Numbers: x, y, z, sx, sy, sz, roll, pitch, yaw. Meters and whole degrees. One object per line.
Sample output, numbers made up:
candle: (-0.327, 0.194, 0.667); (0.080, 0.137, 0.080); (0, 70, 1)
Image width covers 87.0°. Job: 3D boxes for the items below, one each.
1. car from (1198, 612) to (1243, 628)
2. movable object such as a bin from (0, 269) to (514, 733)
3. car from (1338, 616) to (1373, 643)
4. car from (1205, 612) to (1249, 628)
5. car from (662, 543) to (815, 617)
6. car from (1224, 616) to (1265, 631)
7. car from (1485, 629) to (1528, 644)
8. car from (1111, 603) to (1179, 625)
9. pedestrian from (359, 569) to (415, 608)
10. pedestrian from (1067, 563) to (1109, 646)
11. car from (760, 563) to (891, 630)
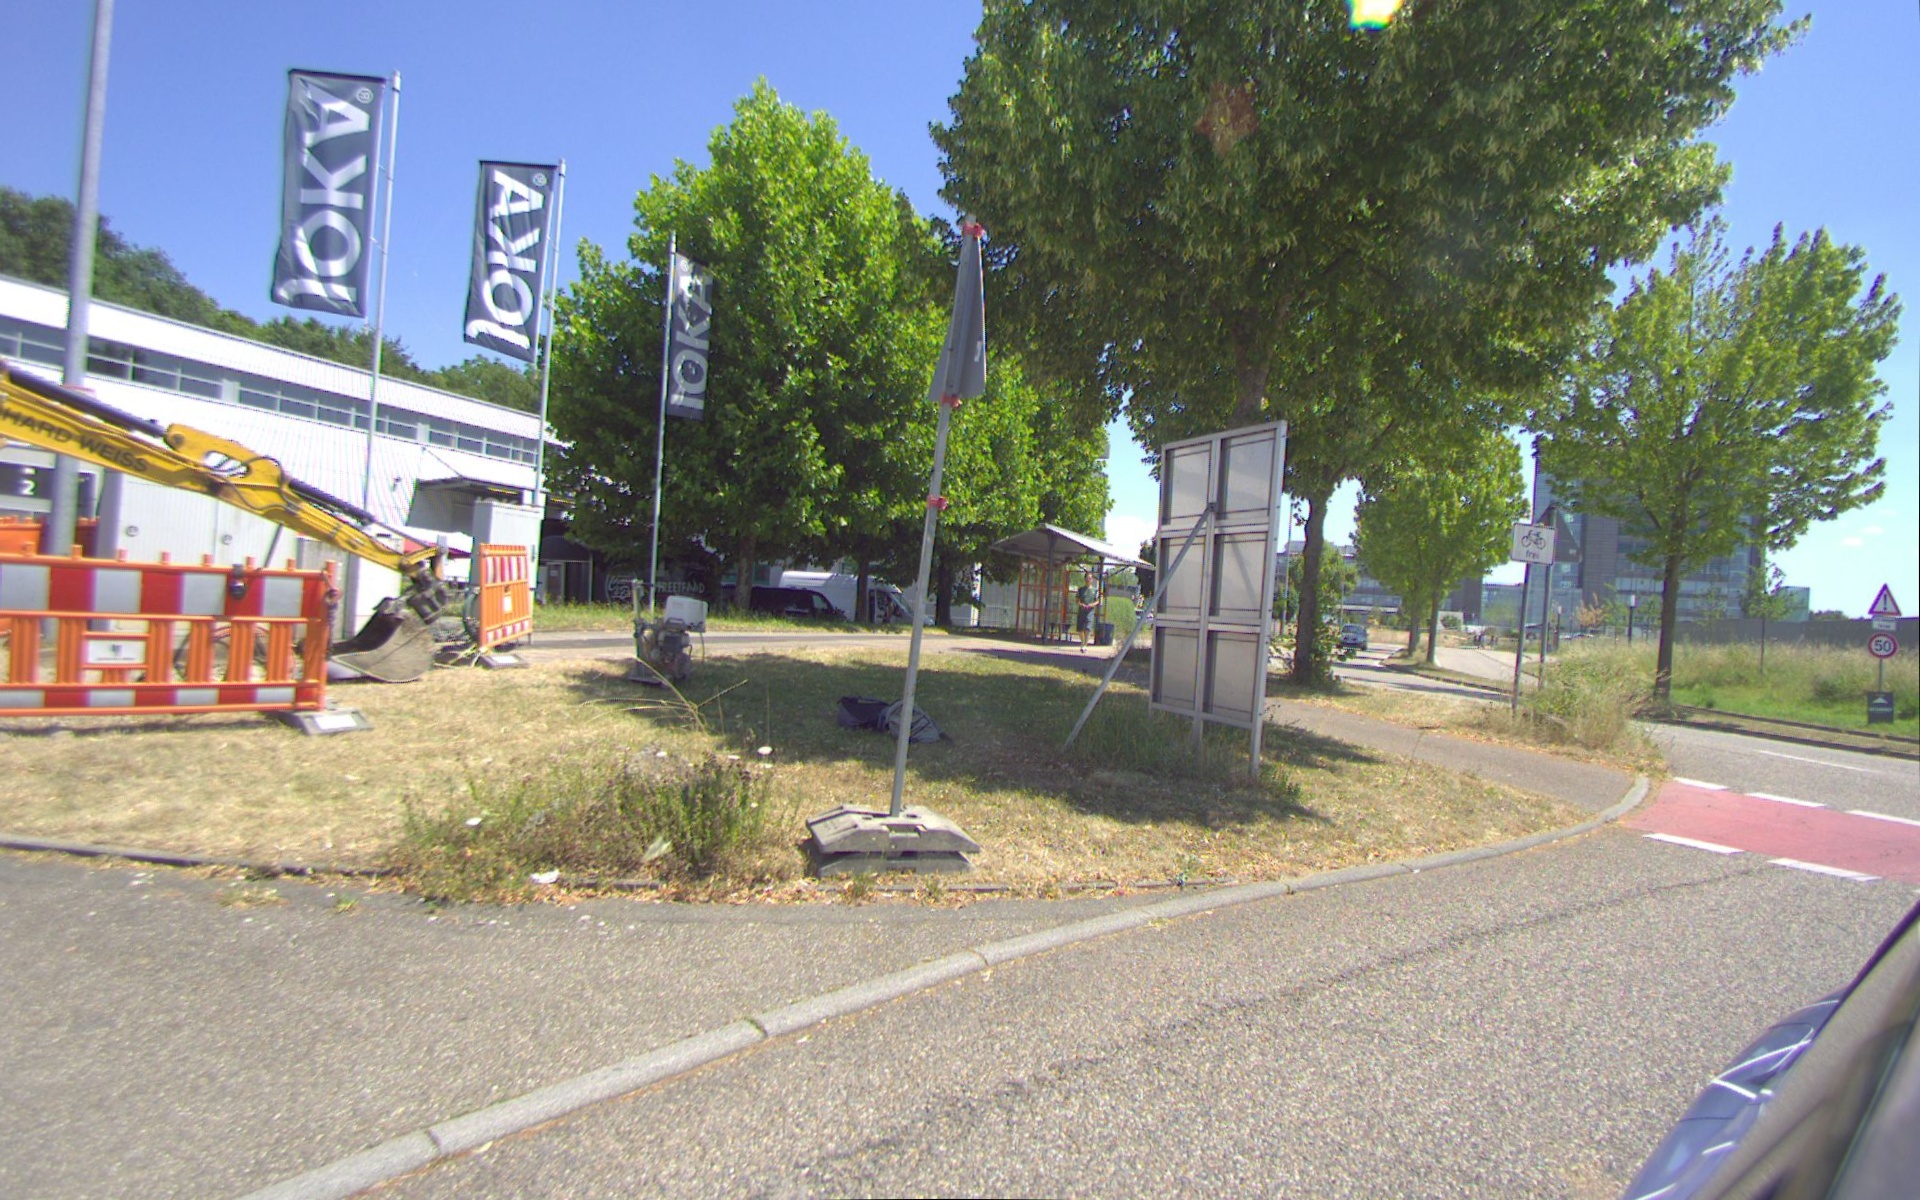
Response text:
car: (24.500, 1.899, 95.197); (3.852, 1.290, 1.691); (3, 0, 25)
movable object such as a bin: (-6.267, -0.598, 6.236); (1.984, 2.613, 6.508); (3, 2, 30)
car: (25.345, 1.913, 64.831); (1.664, 1.524, 3.536); (2, -3, 28)
car: (25.679, 1.936, 97.414); (3.852, 1.290, 1.691); (4, 1, 25)
car: (-5.789, -0.473, 26.866); (1.823, 1.749, 3.962); (3, 1, 27)
car: (29.150, 2.385, 103.585); (3.804, 1.290, 1.596); (3, 0, 25)
car: (57.886, 3.894, 107.302); (3.804, 1.290, 1.596); (3, 0, 25)
car: (12.473, 0.927, 68.357); (4.232, 1.198, 1.480); (3, -3, 25)
pedestrian: (-11.111, -0.225, 19.616); (0.851, 0.704, 0.407); (3, 0, -41)
pedestrian: (2.688, 0.106, 21.264); (0.521, 1.691, 0.579); (6, -4, -37)
car: (-4.692, -0.106, 35.486); (4.204, 2.040, 1.541); (3, -3, 15)
